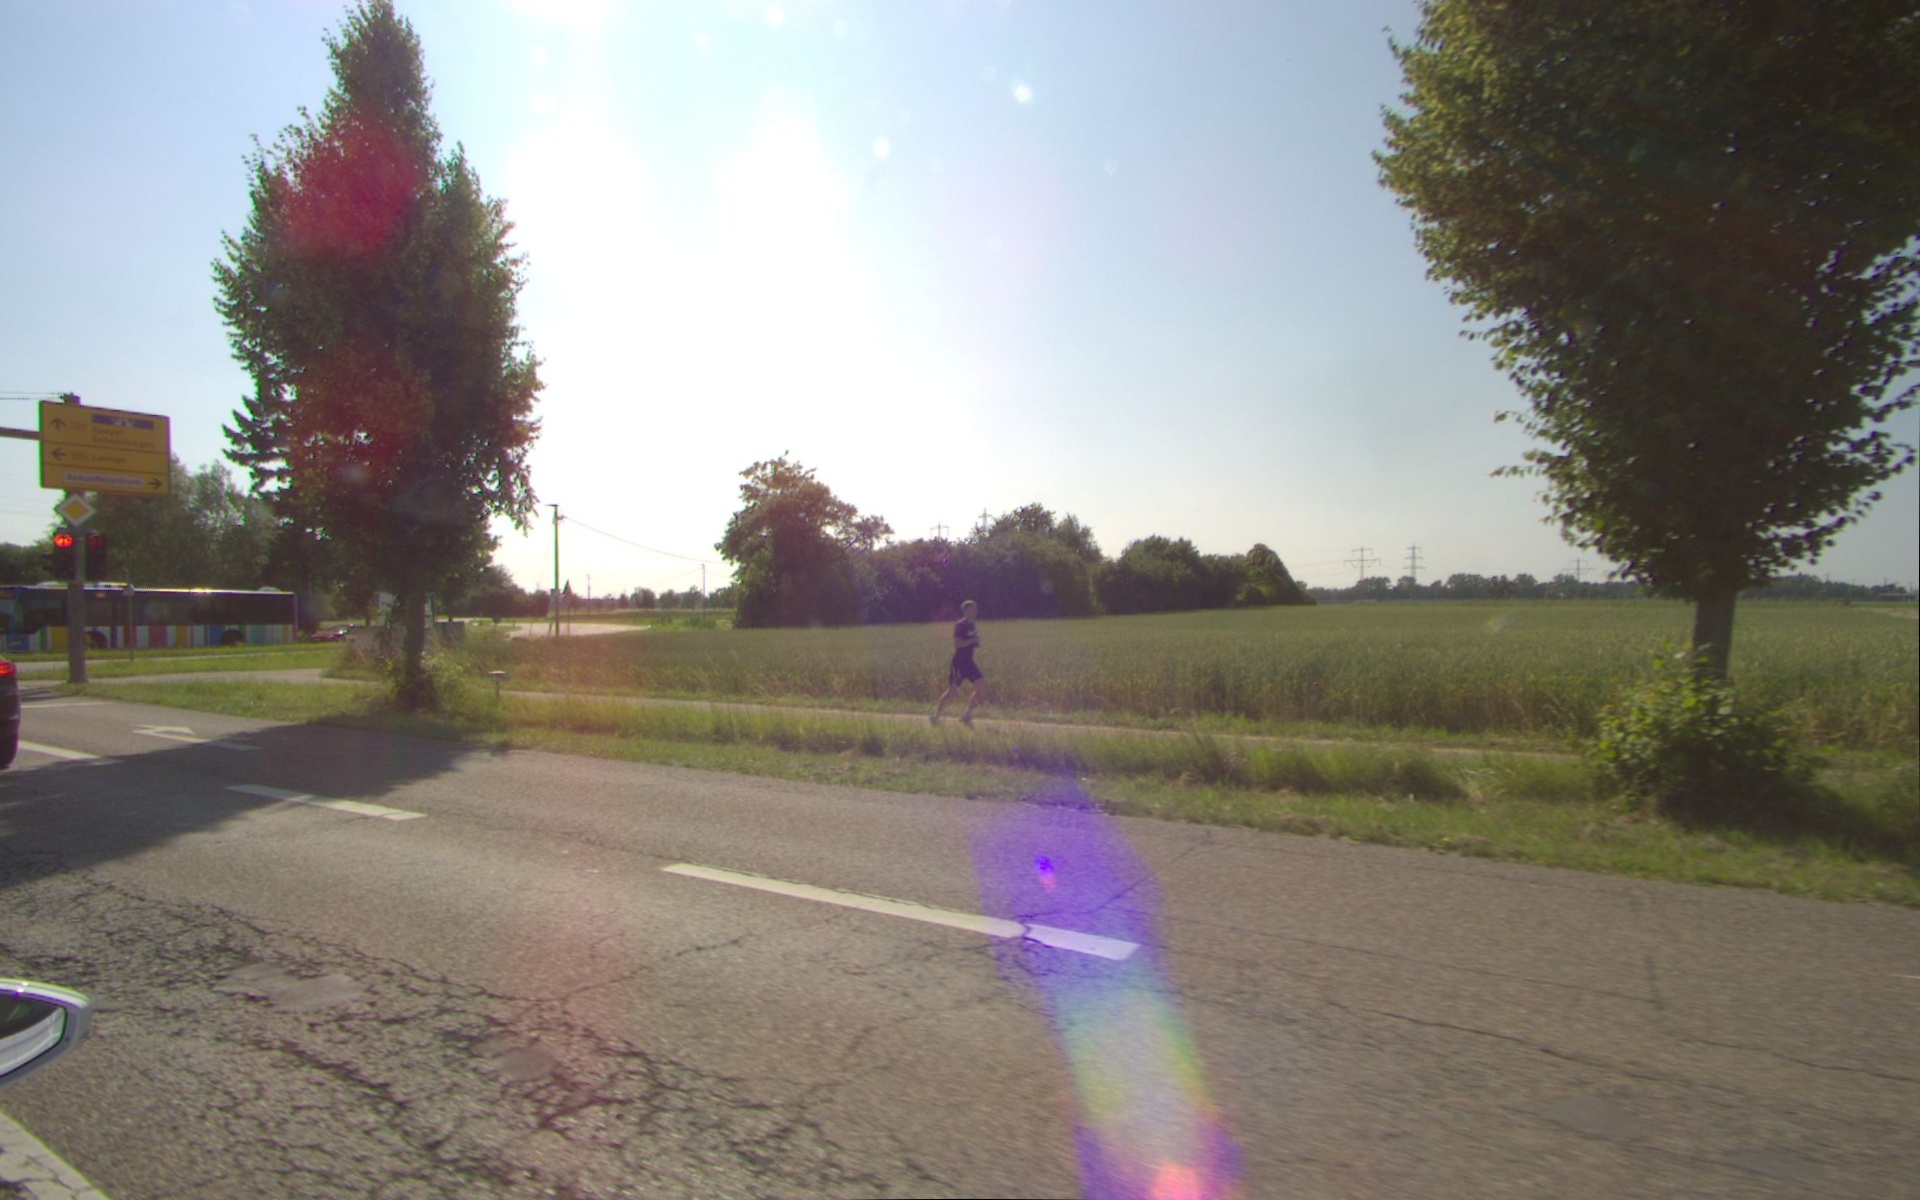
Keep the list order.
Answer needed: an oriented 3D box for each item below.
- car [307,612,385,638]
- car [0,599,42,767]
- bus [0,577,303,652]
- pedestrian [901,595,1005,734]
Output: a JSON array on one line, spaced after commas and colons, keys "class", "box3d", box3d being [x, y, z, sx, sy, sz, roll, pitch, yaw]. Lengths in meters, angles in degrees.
[{"class": "car", "box3d": [-36.096, 1.447, 58.993, 1.649, 1.416, 3.997, 0, 0, 11]}, {"class": "car", "box3d": [-11.625, 0.830, 10.598, 4.086, 1.676, 1.753, -1, -2, 32]}, {"class": "bus", "box3d": [-36.271, 0.565, 45.210, 2.889, 2.915, 11.957, 0, 0, 17]}, {"class": "pedestrian", "box3d": [-0.093, 0.867, 14.063, 1.177, 1.863, 0.900, 0, 0, 30]}]
